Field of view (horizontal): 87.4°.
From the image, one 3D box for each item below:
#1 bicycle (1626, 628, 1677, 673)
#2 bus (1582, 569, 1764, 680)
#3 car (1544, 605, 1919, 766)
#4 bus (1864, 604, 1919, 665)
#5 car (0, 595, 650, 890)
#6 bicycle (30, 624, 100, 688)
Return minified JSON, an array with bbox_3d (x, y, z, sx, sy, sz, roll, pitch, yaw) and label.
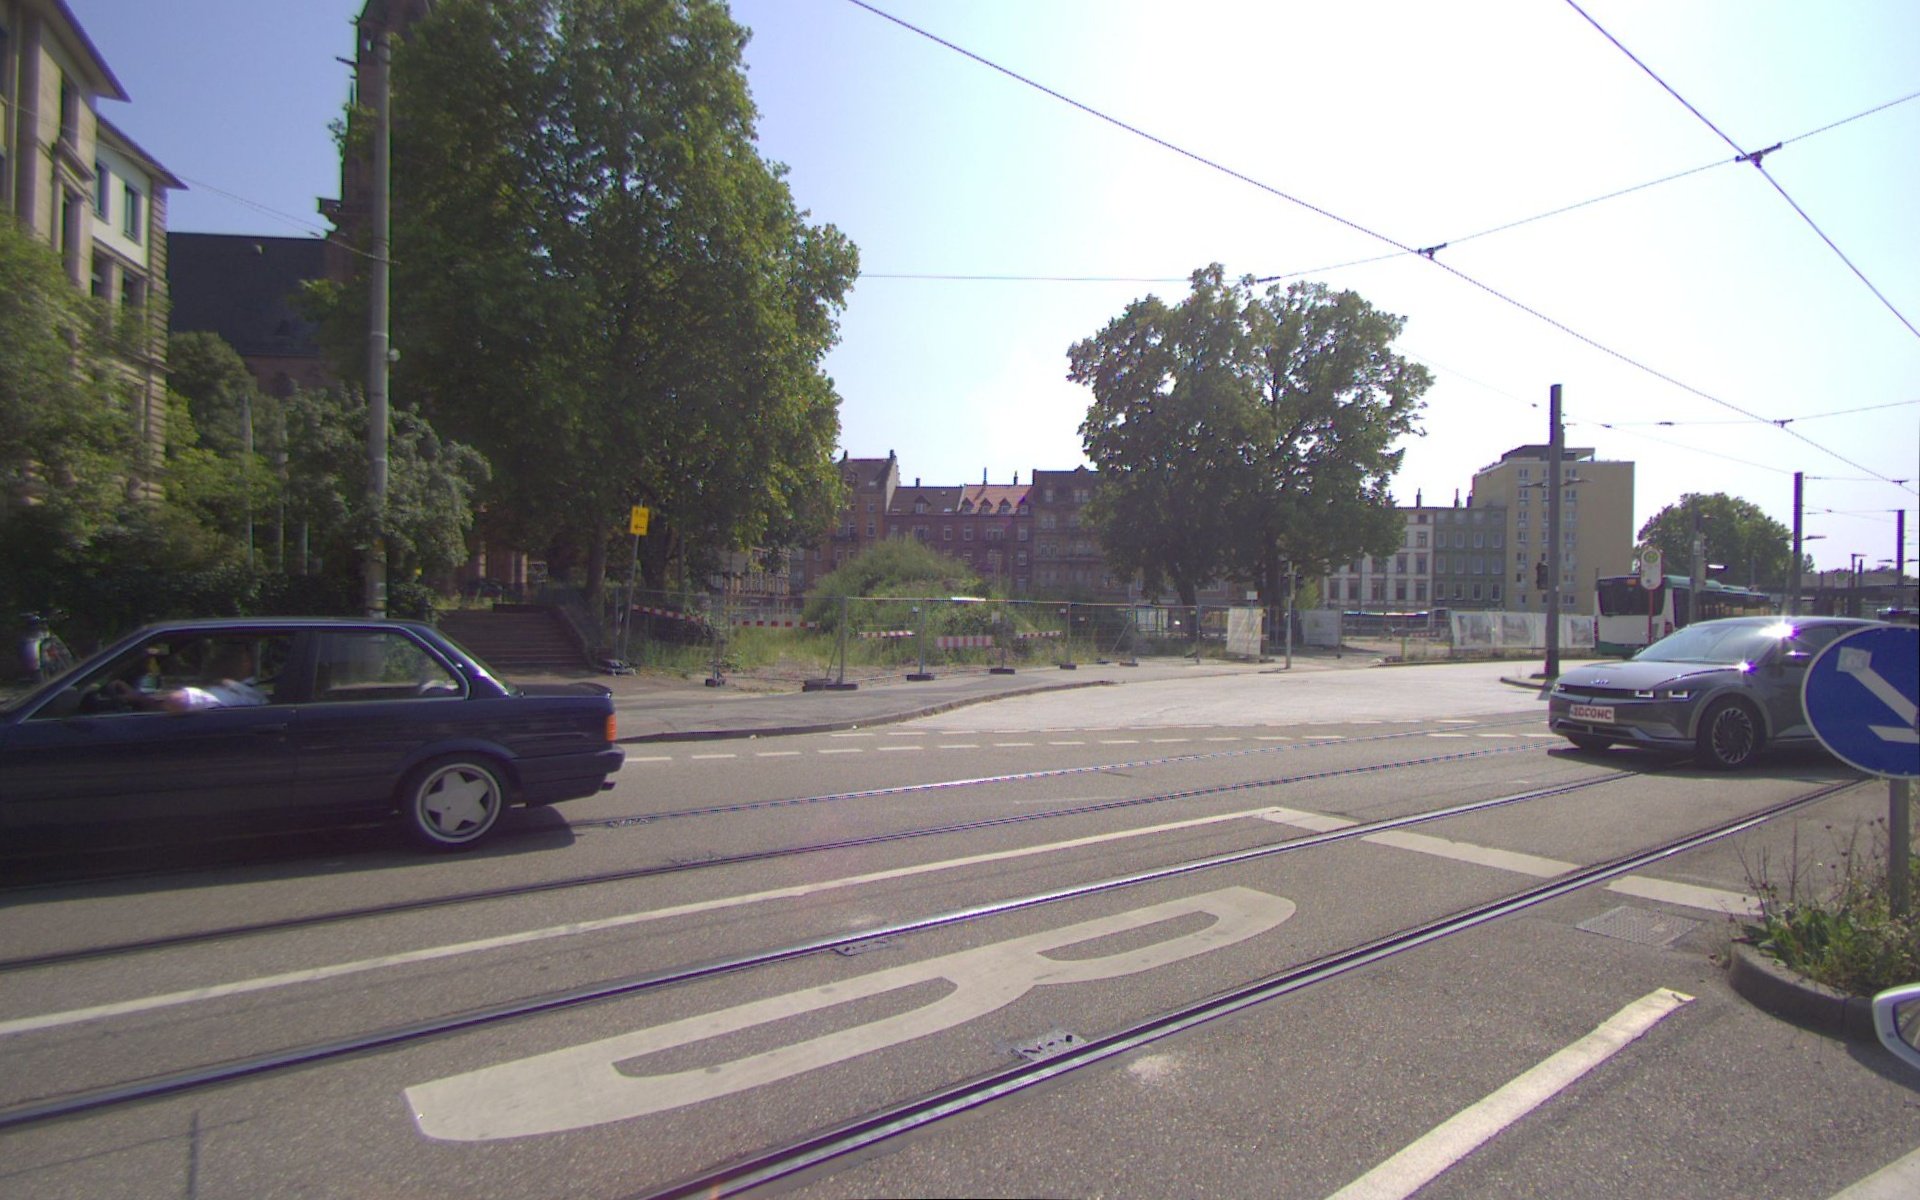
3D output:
[{"bbox_3d":[19.645,1.431,28.519,1.687,1.239,0.604,2,-1,-34],"label":"bicycle"},{"bbox_3d":[28.073,0.987,39.279,10.503,3.825,2.935,2,-1,-38],"label":"bus"},{"bbox_3d":[9.346,0.928,11.467,4.590,1.632,1.774,1,-1,-11],"label":"car"},{"bbox_3d":[63.630,2.331,67.110,10.319,3.776,2.691,2,0,-36],"label":"bus"},{"bbox_3d":[-4.323,0.699,5.847,4.562,1.396,1.680,2,-1,-29],"label":"car"},{"bbox_3d":[-13.949,0.845,15.700,0.744,0.906,2.154,2,-1,-40],"label":"bicycle"}]
